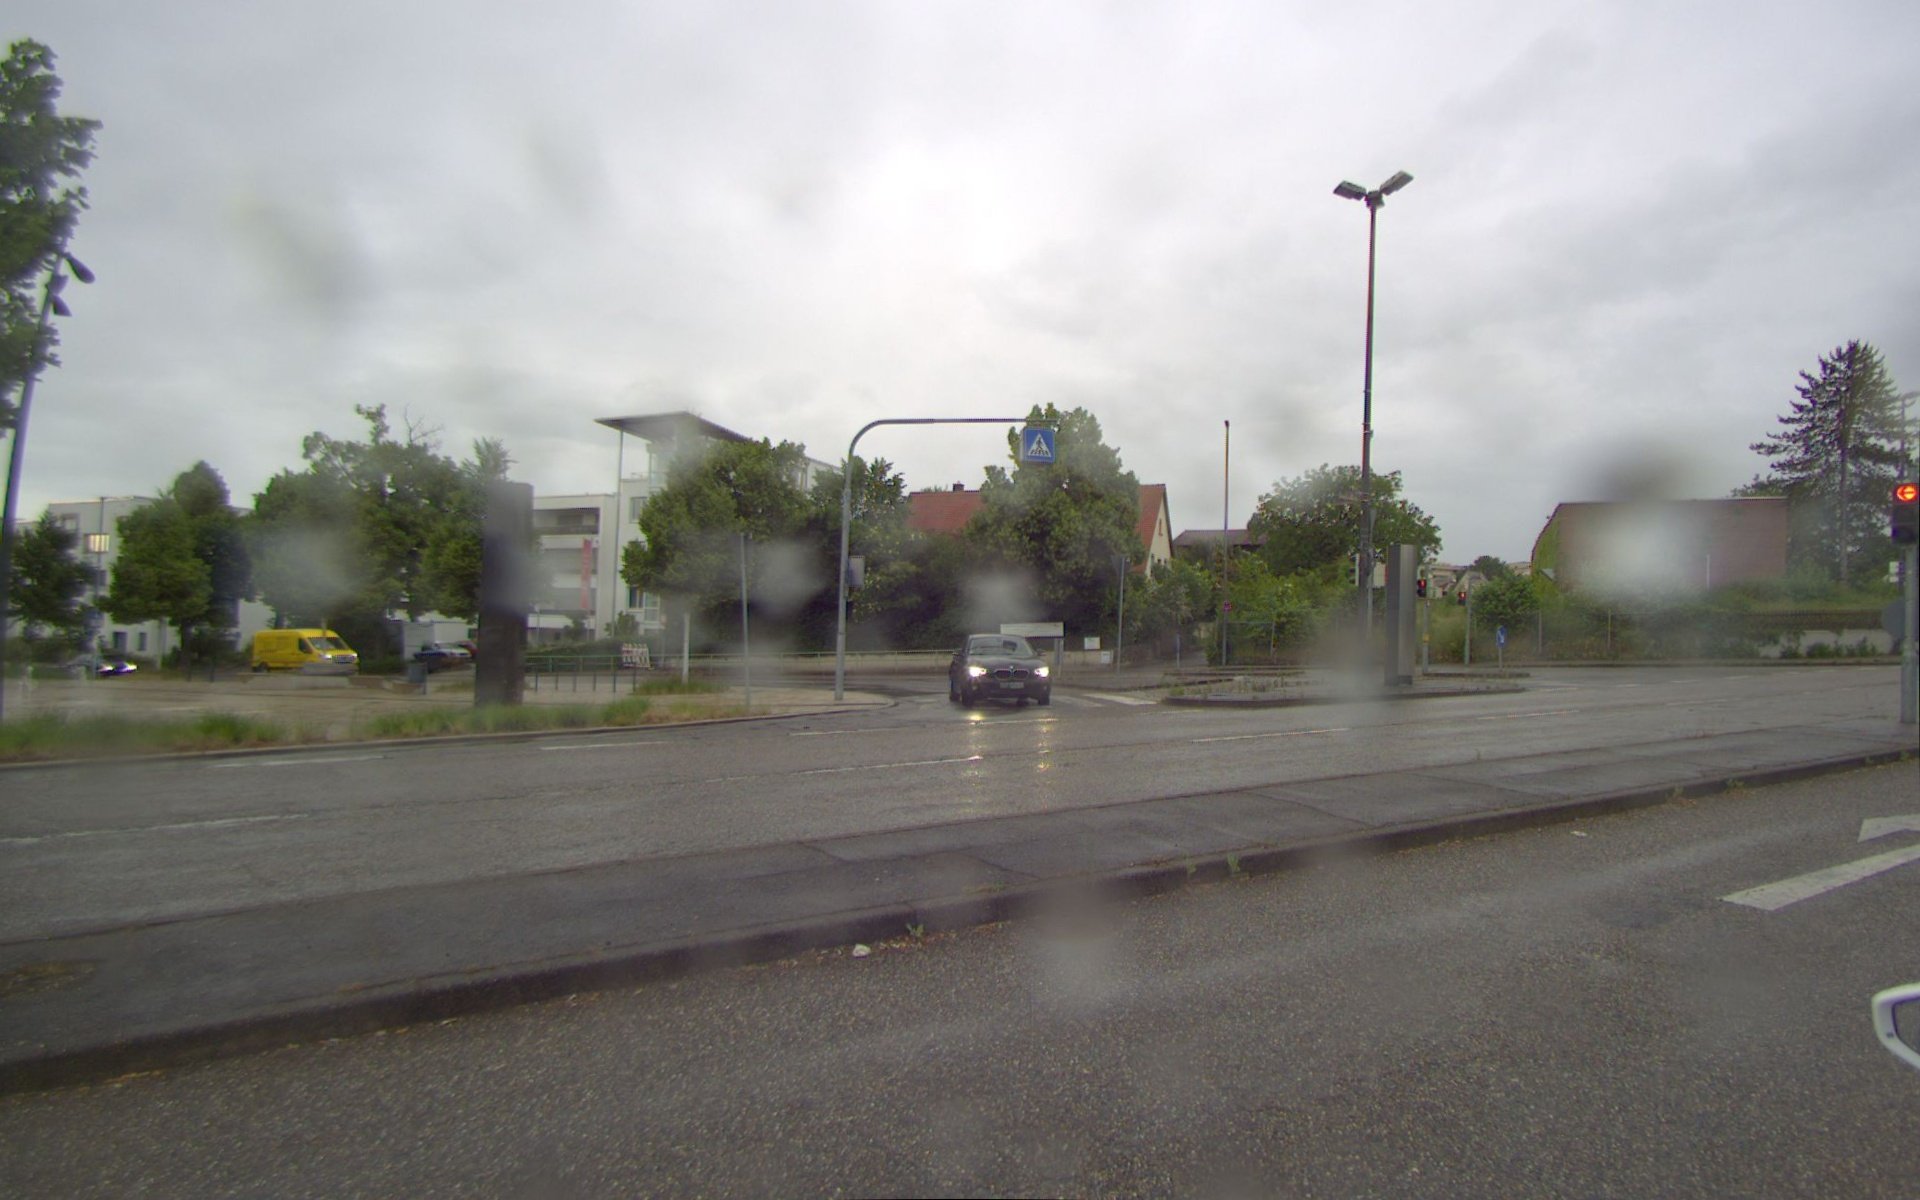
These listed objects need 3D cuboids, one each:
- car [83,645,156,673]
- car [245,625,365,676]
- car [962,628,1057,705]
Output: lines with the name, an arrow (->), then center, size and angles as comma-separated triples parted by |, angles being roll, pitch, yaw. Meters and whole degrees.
car -> -49.074, 3.457, 58.651 | 3.929, 1.559, 1.997 | -2, -3, 29
car -> -33.020, 2.578, 50.634 | 5.802, 2.441, 2.000 | -2, -3, 21
car -> 1.047, 1.303, 20.785 | 1.755, 1.408, 4.283 | 0, -2, 3
